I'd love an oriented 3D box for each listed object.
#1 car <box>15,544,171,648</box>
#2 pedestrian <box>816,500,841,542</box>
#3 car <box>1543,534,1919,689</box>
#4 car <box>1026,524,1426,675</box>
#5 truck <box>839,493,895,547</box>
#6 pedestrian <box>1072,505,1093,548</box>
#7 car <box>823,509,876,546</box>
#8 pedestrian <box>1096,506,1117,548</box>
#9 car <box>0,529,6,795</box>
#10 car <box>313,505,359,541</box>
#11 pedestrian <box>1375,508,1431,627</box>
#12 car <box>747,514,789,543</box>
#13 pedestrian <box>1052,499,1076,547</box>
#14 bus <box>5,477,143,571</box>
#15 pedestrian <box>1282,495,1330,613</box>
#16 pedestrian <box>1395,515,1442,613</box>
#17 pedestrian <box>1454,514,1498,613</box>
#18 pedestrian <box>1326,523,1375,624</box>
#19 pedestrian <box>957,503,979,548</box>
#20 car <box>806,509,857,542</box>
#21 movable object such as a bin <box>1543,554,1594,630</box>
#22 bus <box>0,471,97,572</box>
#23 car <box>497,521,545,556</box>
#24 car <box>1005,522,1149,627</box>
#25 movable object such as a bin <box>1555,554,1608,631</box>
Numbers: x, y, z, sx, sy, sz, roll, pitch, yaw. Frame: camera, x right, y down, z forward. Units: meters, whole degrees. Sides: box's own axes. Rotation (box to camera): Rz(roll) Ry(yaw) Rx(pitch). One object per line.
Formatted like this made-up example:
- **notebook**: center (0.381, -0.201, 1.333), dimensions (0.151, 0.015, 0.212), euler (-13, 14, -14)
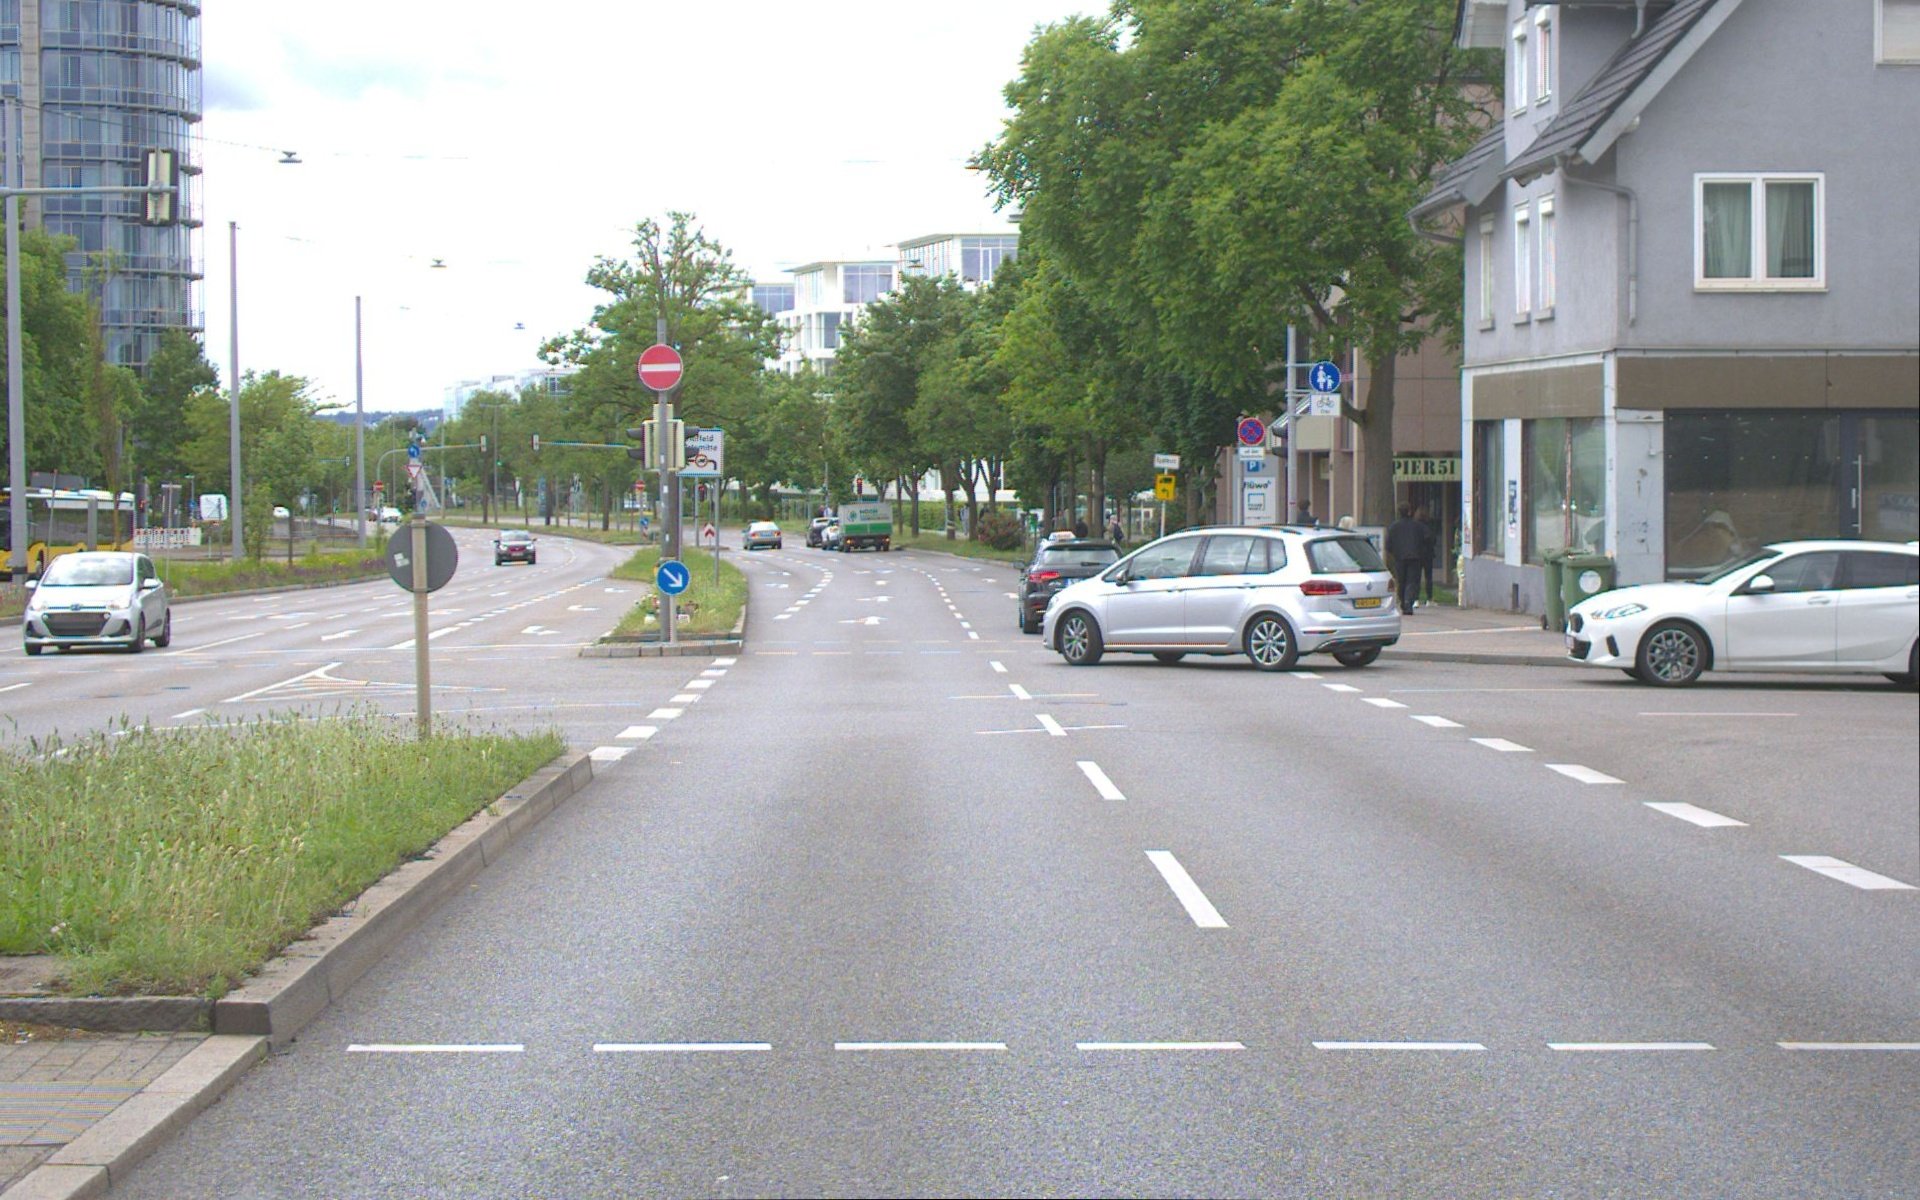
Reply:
- **car**: center (-12.803, -0.089, 50.927), dimensions (1.684, 1.457, 3.556), euler (-1, 1, -5)
- **pedestrian**: center (-7.621, -4.580, 199.526), dimensions (1.232, 2.393, 1.310), euler (-1, 1, -10)
- **car**: center (8.159, 0.103, 34.593), dimensions (4.242, 1.472, 2.000), euler (1, 1, 1)
- **car**: center (2.940, -0.034, 38.425), dimensions (4.110, 1.535, 1.824), euler (2, 1, 39)
- **truck**: center (-4.261, -3.645, 156.470), dimensions (2.251, 2.408, 4.934), euler (0, 1, -5)
- **pedestrian**: center (4.539, -2.720, 127.369), dimensions (0.650, 1.564, 0.671), euler (-1, 1, -8)
- **car**: center (-5.306, -3.478, 165.068), dimensions (2.251, 1.751, 4.934), euler (-1, 1, -5)
- **pedestrian**: center (5.411, -2.701, 127.102), dimensions (0.650, 1.564, 0.671), euler (-1, 1, -8)
- **car**: center (-6.653, 0.413, 17.233), dimensions (1.710, 1.476, 4.286), euler (0, 2, 14)
- **car**: center (-36.329, -4.465, 200.264), dimensions (1.965, 2.007, 4.000), euler (1, 1, -1)
- **pedestrian**: center (6.622, -0.491, 51.412), dimensions (0.705, 1.754, 1.052), euler (-1, 1, 1)
- **car**: center (-9.687, -3.597, 173.154), dimensions (1.967, 1.415, 4.023), euler (-1, 1, -5)
- **pedestrian**: center (4.476, -3.305, 147.909), dimensions (0.971, 2.007, 0.981), euler (1, 0, -1)
- **bus**: center (-31.732, -2.710, 123.471), dimensions (3.144, 3.214, 7.766), euler (-1, 1, -2)
- **pedestrian**: center (5.266, -0.708, 52.337), dimensions (0.705, 1.773, 0.870), euler (-1, 1, 5)
- **pedestrian**: center (7.807, -0.616, 58.499), dimensions (0.705, 1.656, 0.870), euler (-1, 1, 13)
- **pedestrian**: center (8.725, -0.622, 58.117), dimensions (0.705, 1.656, 0.870), euler (0, 1, 7)
- **pedestrian**: center (5.869, -0.404, 51.742), dimensions (0.705, 1.502, 0.870), euler (-1, 1, 6)
- **pedestrian**: center (0.418, -3.839, 176.565), dimensions (0.930, 2.300, 1.011), euler (1, 0, -10)
- **car**: center (-6.502, -3.742, 173.861), dimensions (2.250, 1.641, 4.934), euler (-1, 1, -5)
- **movable object such as a bin**: center (7.933, -0.106, 44.841), dimensions (0.529, 0.976, 0.736), euler (-1, 1, -1)
- **bus**: center (-31.394, -2.568, 114.467), dimensions (3.144, 3.214, 10.286), euler (-1, 1, -3)
- **car**: center (-19.284, -2.710, 151.206), dimensions (1.702, 1.487, 3.562), euler (-1, 1, -1)
- **car**: center (1.742, -0.397, 52.282), dimensions (1.889, 1.489, 4.099), euler (-1, 1, -2)
- **movable object such as a bin**: center (7.961, -0.102, 44.051), dimensions (0.529, 0.976, 0.736), euler (-1, 1, -1)
